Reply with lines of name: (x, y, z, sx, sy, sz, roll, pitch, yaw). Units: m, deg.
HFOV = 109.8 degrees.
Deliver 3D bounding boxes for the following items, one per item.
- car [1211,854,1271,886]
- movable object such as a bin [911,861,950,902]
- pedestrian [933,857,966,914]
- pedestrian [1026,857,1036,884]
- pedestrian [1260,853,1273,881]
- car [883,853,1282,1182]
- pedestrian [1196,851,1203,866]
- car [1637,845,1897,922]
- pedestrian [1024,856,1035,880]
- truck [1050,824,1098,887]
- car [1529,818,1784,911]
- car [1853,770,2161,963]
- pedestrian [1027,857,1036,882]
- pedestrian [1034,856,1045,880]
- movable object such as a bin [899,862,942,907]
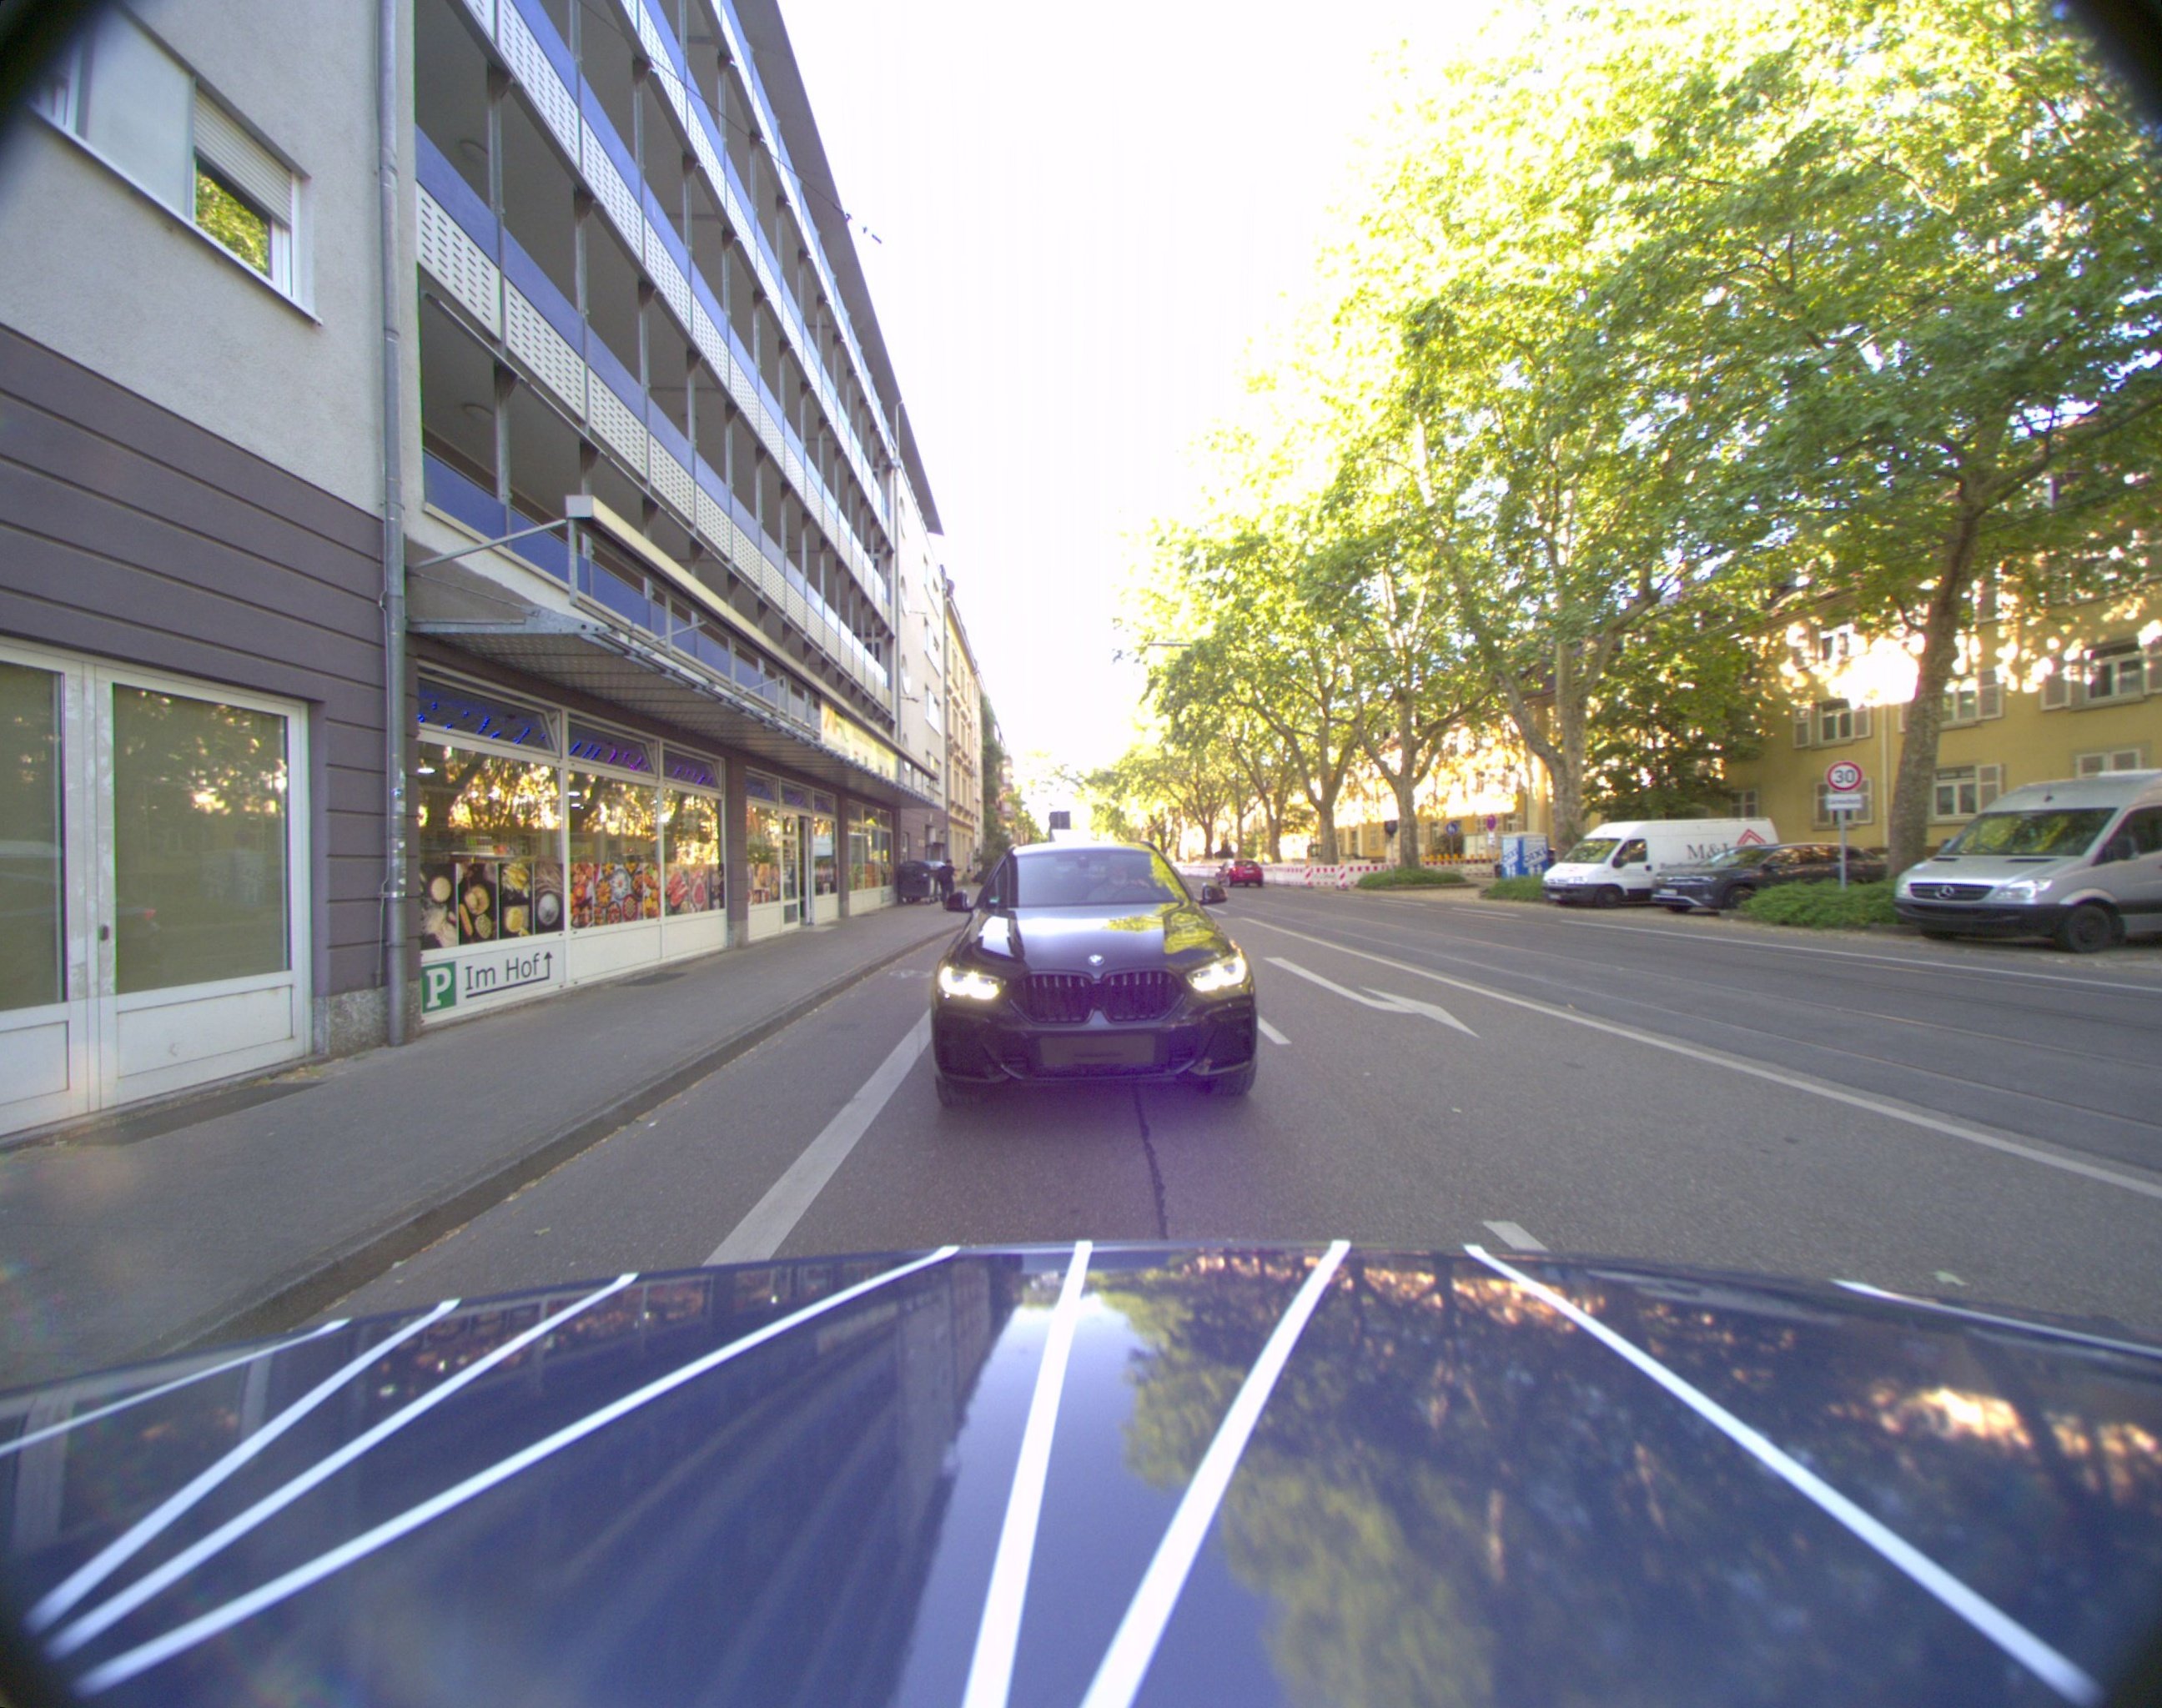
car: (8.449, 0.834, 40.494, 2.022, 1.556, 4.490, -1, 0, -3)
movable object such as a bin: (-5.288, 0.950, 26.695, 1.158, 1.418, 0.939, -1, 0, 1)
pedestrian: (-3.744, 0.896, 21.710, 0.864, 1.582, 0.622, -1, 0, -5)
pedestrian: (-3.612, 1.189, 55.087, 0.600, 1.875, 0.581, -2, 1, -1)
pedestrian: (11.750, 0.808, 48.151, 0.652, 1.735, 0.583, -2, 1, -3)
car: (0.038, 0.840, 6.004, 1.998, 1.643, 4.295, -1, 0, 1)
pedestrian: (15.322, 0.587, 98.363, 0.732, 1.875, 0.665, -2, 1, 8)
car: (16.073, 0.656, 17.951, 4.627, 1.642, 1.774, -1, 0, -2)
pedestrian: (-4.106, 1.145, 60.711, 0.733, 1.875, 0.664, -2, 1, -1)
truck: (-0.320, 0.118, 42.201, 2.394, 3.170, 6.587, -1, 0, 1)
car: (15.840, 0.288, 21.158, 5.404, 2.362, 2.223, -1, 0, 0)
car: (15.980, 0.128, 11.869, 5.666, 2.666, 2.223, -2, 0, -2)
pedestrian: (-3.783, 1.157, 58.512, 0.600, 1.875, 0.581, -2, 1, -1)
pedestrian: (-3.271, 1.121, 59.970, 0.733, 1.875, 0.664, -2, 1, -1)
movable object such as a bin: (-5.203, 0.971, 24.657, 1.158, 1.418, 0.939, -1, 0, 1)
